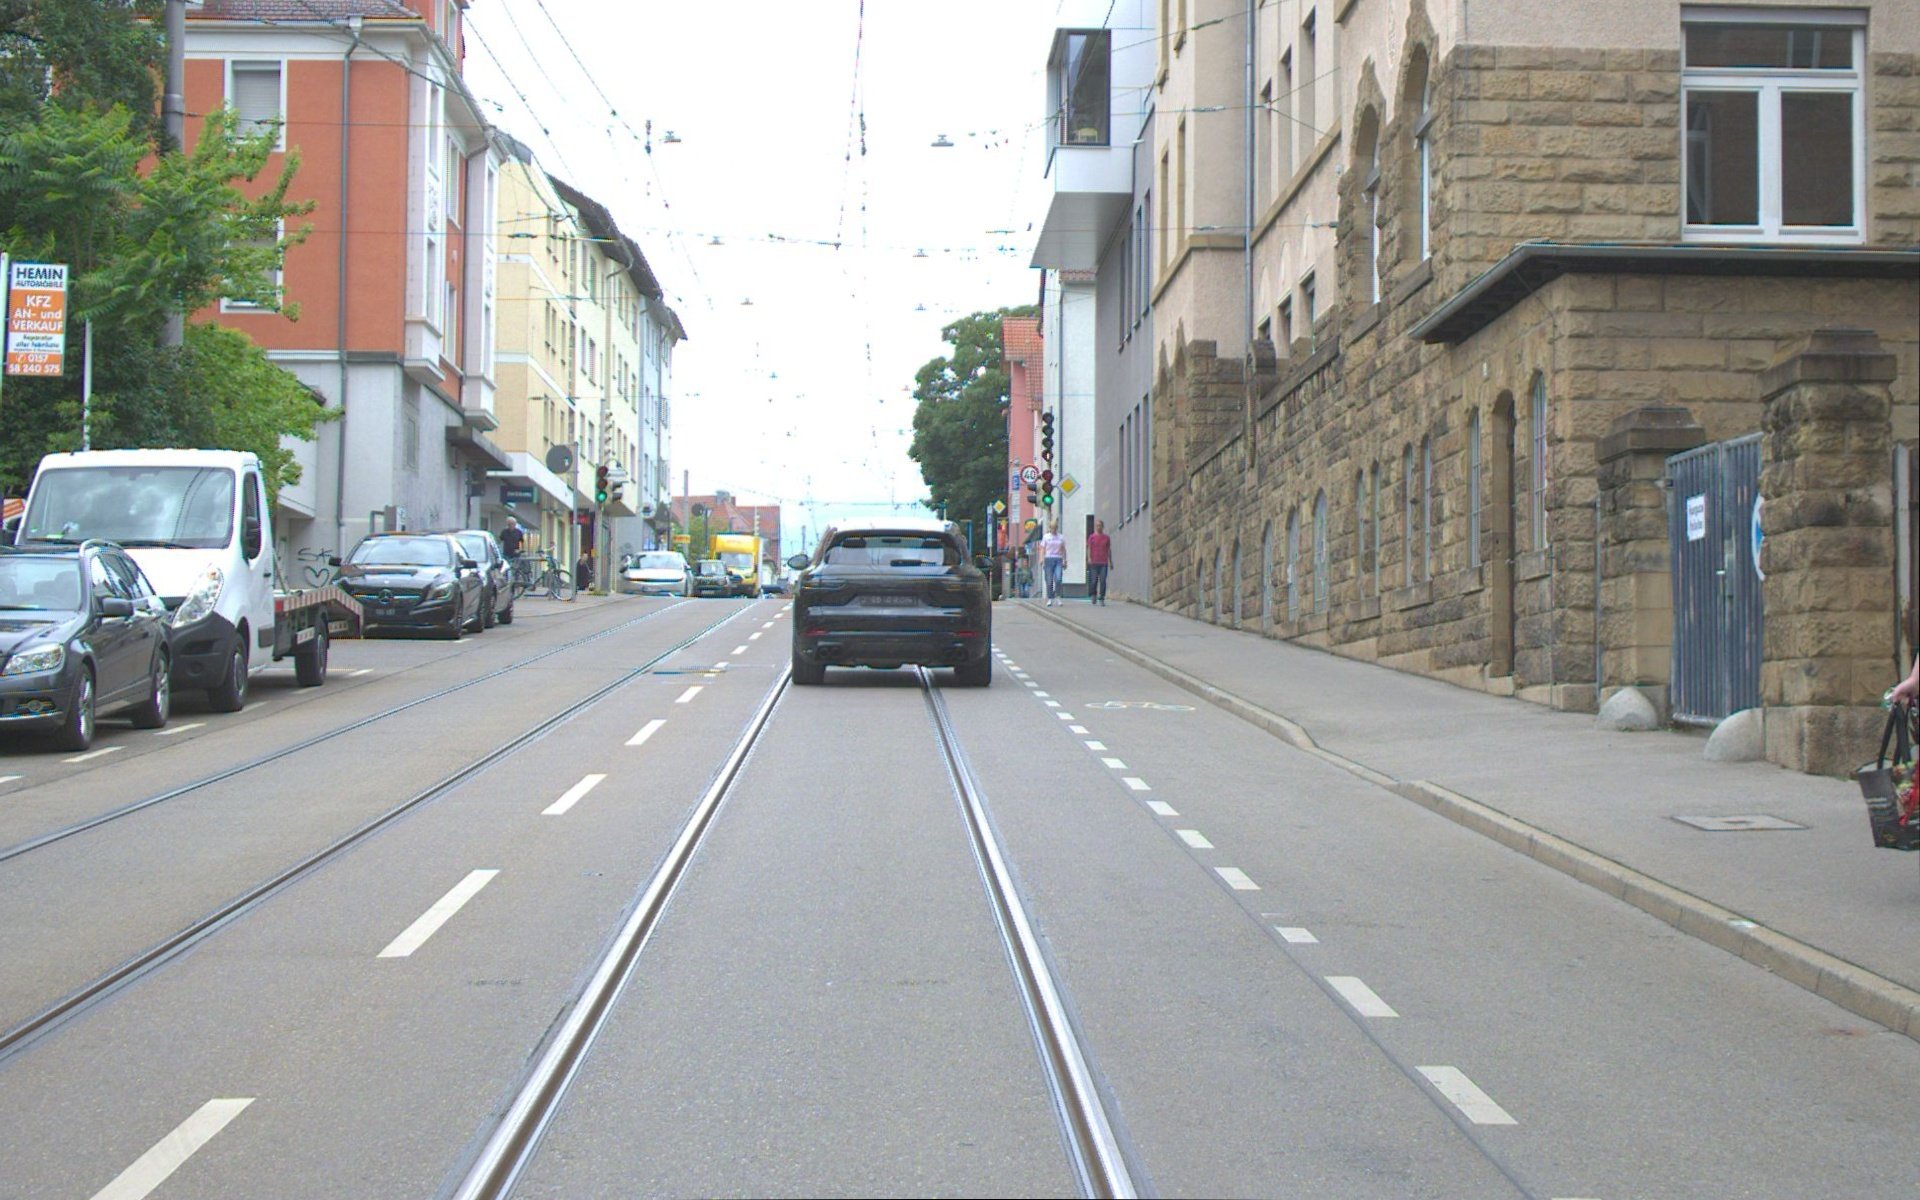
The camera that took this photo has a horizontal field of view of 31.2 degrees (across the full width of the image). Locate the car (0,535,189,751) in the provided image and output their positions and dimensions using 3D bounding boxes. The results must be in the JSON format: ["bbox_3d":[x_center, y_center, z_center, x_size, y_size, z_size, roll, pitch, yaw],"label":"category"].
[{"bbox_3d":[-6.909,0.260,25.187,1.696,1.428,4.482,-1,1,-3],"label":"car"}]

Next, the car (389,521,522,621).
[{"bbox_3d":[-7.657,-0.465,52.396,1.515,1.441,3.710,1,1,-1],"label":"car"}]

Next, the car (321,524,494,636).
[{"bbox_3d":[-7.471,-0.302,46.807,1.712,1.441,4.290,1,1,-1],"label":"car"}]

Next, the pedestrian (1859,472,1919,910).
[{"bbox_3d":[4.038,0.338,13.481,0.870,1.680,0.663,-1,1,5],"label":"pedestrian"}]

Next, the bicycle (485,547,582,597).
[{"bbox_3d":[-8.732,-0.574,70.424,1.911,0.996,0.479,1,1,-1],"label":"bicycle"}]

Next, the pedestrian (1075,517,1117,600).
[{"bbox_3d":[2.733,-0.838,69.129,0.791,1.661,0.799,1,1,1],"label":"pedestrian"}]

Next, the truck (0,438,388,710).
[{"bbox_3d":[-7.112,-0.293,31.950,2.280,2.180,8.025,1,1,0],"label":"truck"}]

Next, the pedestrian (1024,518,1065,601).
[{"bbox_3d":[1.690,-0.818,69.142,0.791,1.661,0.799,1,1,1],"label":"pedestrian"}]

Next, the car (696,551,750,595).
[{"bbox_3d":[-9.131,-1.062,132.667,1.855,1.601,4.297,1,1,-2],"label":"car"}]

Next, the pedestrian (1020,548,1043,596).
[{"bbox_3d":[2.491,-0.976,119.938,0.791,1.661,0.799,1,1,1],"label":"pedestrian"}]

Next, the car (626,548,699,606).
[{"bbox_3d":[-8.637,-0.682,100.109,1.855,1.601,4.297,1,1,-2],"label":"car"}]

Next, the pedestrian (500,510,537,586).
[{"bbox_3d":[-10.402,-1.218,80.977,0.775,1.770,0.650,1,1,0],"label":"pedestrian"}]

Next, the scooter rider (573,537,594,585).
[{"bbox_3d":[-12.614,-1.319,115.157,0.648,1.580,0.766,1,1,-5],"label":"scooter rider"}]

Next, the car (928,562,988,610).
[{"bbox_3d":[-0.091,-0.513,118.358,1.993,1.558,4.290,1,1,-1],"label":"car"}]

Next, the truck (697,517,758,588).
[{"bbox_3d":[-10.280,-2.101,152.845,2.302,3.026,9.034,1,1,-2],"label":"truck"}]

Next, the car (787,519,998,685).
[{"bbox_3d":[-0.680,-0.020,35.061,1.993,1.558,4.290,1,1,-1],"label":"car"}]

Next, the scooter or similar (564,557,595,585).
[{"bbox_3d":[-12.737,-0.959,115.151,1.027,0.915,0.473,1,1,-6],"label":"scooter or similar"}]
